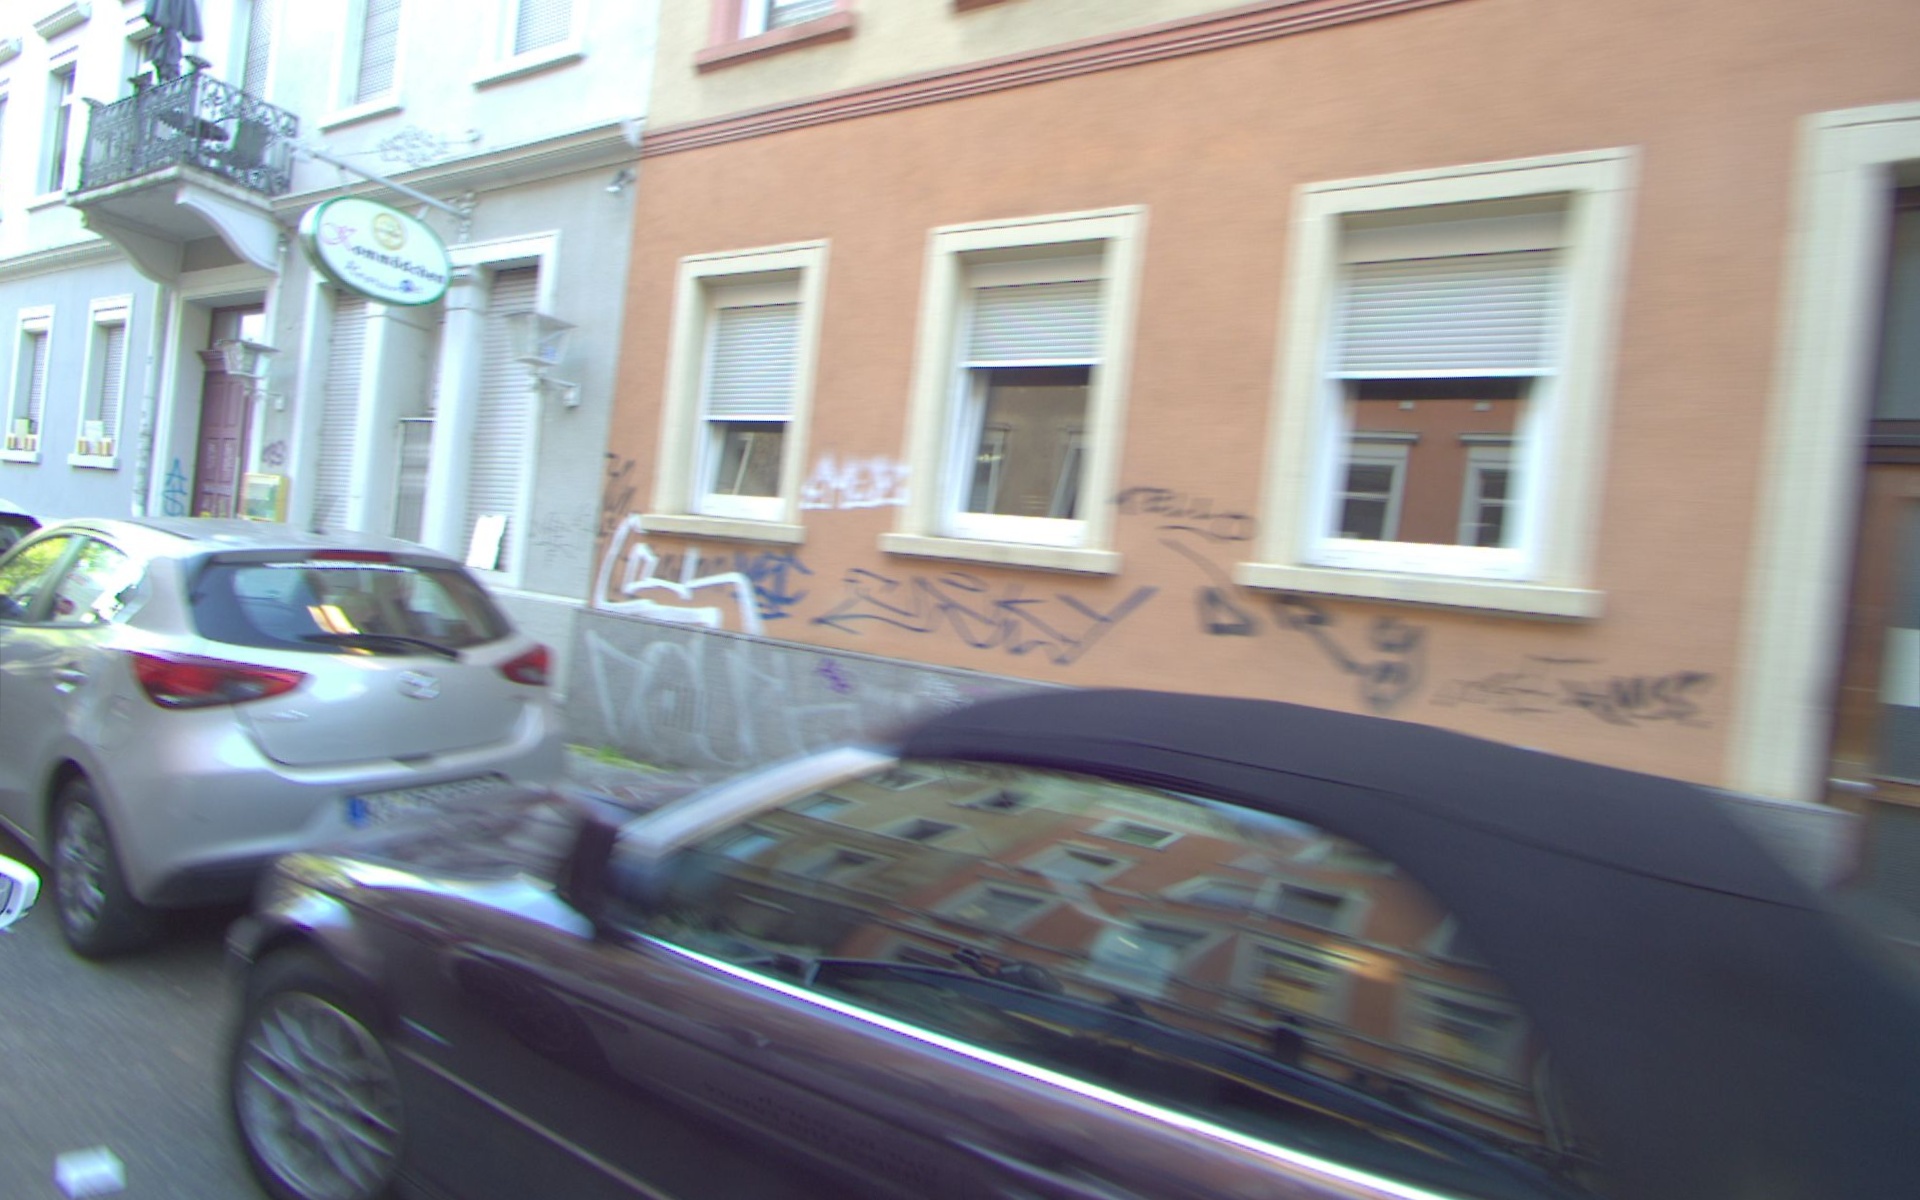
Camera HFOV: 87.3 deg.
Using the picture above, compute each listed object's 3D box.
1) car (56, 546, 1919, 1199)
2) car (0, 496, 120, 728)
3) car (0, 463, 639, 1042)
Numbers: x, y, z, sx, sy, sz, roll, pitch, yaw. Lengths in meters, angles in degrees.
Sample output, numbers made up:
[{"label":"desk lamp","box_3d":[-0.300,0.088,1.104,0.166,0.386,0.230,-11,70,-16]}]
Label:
[{"label":"car","box_3d":[0.210,0.876,2.105,4.419,1.410,1.771,7,-2,30]},{"label":"car","box_3d":[-8.248,-0.147,7.464,4.119,1.528,1.683,7,-2,30]},{"label":"car","box_3d":[-3.617,0.339,4.686,4.122,1.615,1.682,7,-2,33]}]
